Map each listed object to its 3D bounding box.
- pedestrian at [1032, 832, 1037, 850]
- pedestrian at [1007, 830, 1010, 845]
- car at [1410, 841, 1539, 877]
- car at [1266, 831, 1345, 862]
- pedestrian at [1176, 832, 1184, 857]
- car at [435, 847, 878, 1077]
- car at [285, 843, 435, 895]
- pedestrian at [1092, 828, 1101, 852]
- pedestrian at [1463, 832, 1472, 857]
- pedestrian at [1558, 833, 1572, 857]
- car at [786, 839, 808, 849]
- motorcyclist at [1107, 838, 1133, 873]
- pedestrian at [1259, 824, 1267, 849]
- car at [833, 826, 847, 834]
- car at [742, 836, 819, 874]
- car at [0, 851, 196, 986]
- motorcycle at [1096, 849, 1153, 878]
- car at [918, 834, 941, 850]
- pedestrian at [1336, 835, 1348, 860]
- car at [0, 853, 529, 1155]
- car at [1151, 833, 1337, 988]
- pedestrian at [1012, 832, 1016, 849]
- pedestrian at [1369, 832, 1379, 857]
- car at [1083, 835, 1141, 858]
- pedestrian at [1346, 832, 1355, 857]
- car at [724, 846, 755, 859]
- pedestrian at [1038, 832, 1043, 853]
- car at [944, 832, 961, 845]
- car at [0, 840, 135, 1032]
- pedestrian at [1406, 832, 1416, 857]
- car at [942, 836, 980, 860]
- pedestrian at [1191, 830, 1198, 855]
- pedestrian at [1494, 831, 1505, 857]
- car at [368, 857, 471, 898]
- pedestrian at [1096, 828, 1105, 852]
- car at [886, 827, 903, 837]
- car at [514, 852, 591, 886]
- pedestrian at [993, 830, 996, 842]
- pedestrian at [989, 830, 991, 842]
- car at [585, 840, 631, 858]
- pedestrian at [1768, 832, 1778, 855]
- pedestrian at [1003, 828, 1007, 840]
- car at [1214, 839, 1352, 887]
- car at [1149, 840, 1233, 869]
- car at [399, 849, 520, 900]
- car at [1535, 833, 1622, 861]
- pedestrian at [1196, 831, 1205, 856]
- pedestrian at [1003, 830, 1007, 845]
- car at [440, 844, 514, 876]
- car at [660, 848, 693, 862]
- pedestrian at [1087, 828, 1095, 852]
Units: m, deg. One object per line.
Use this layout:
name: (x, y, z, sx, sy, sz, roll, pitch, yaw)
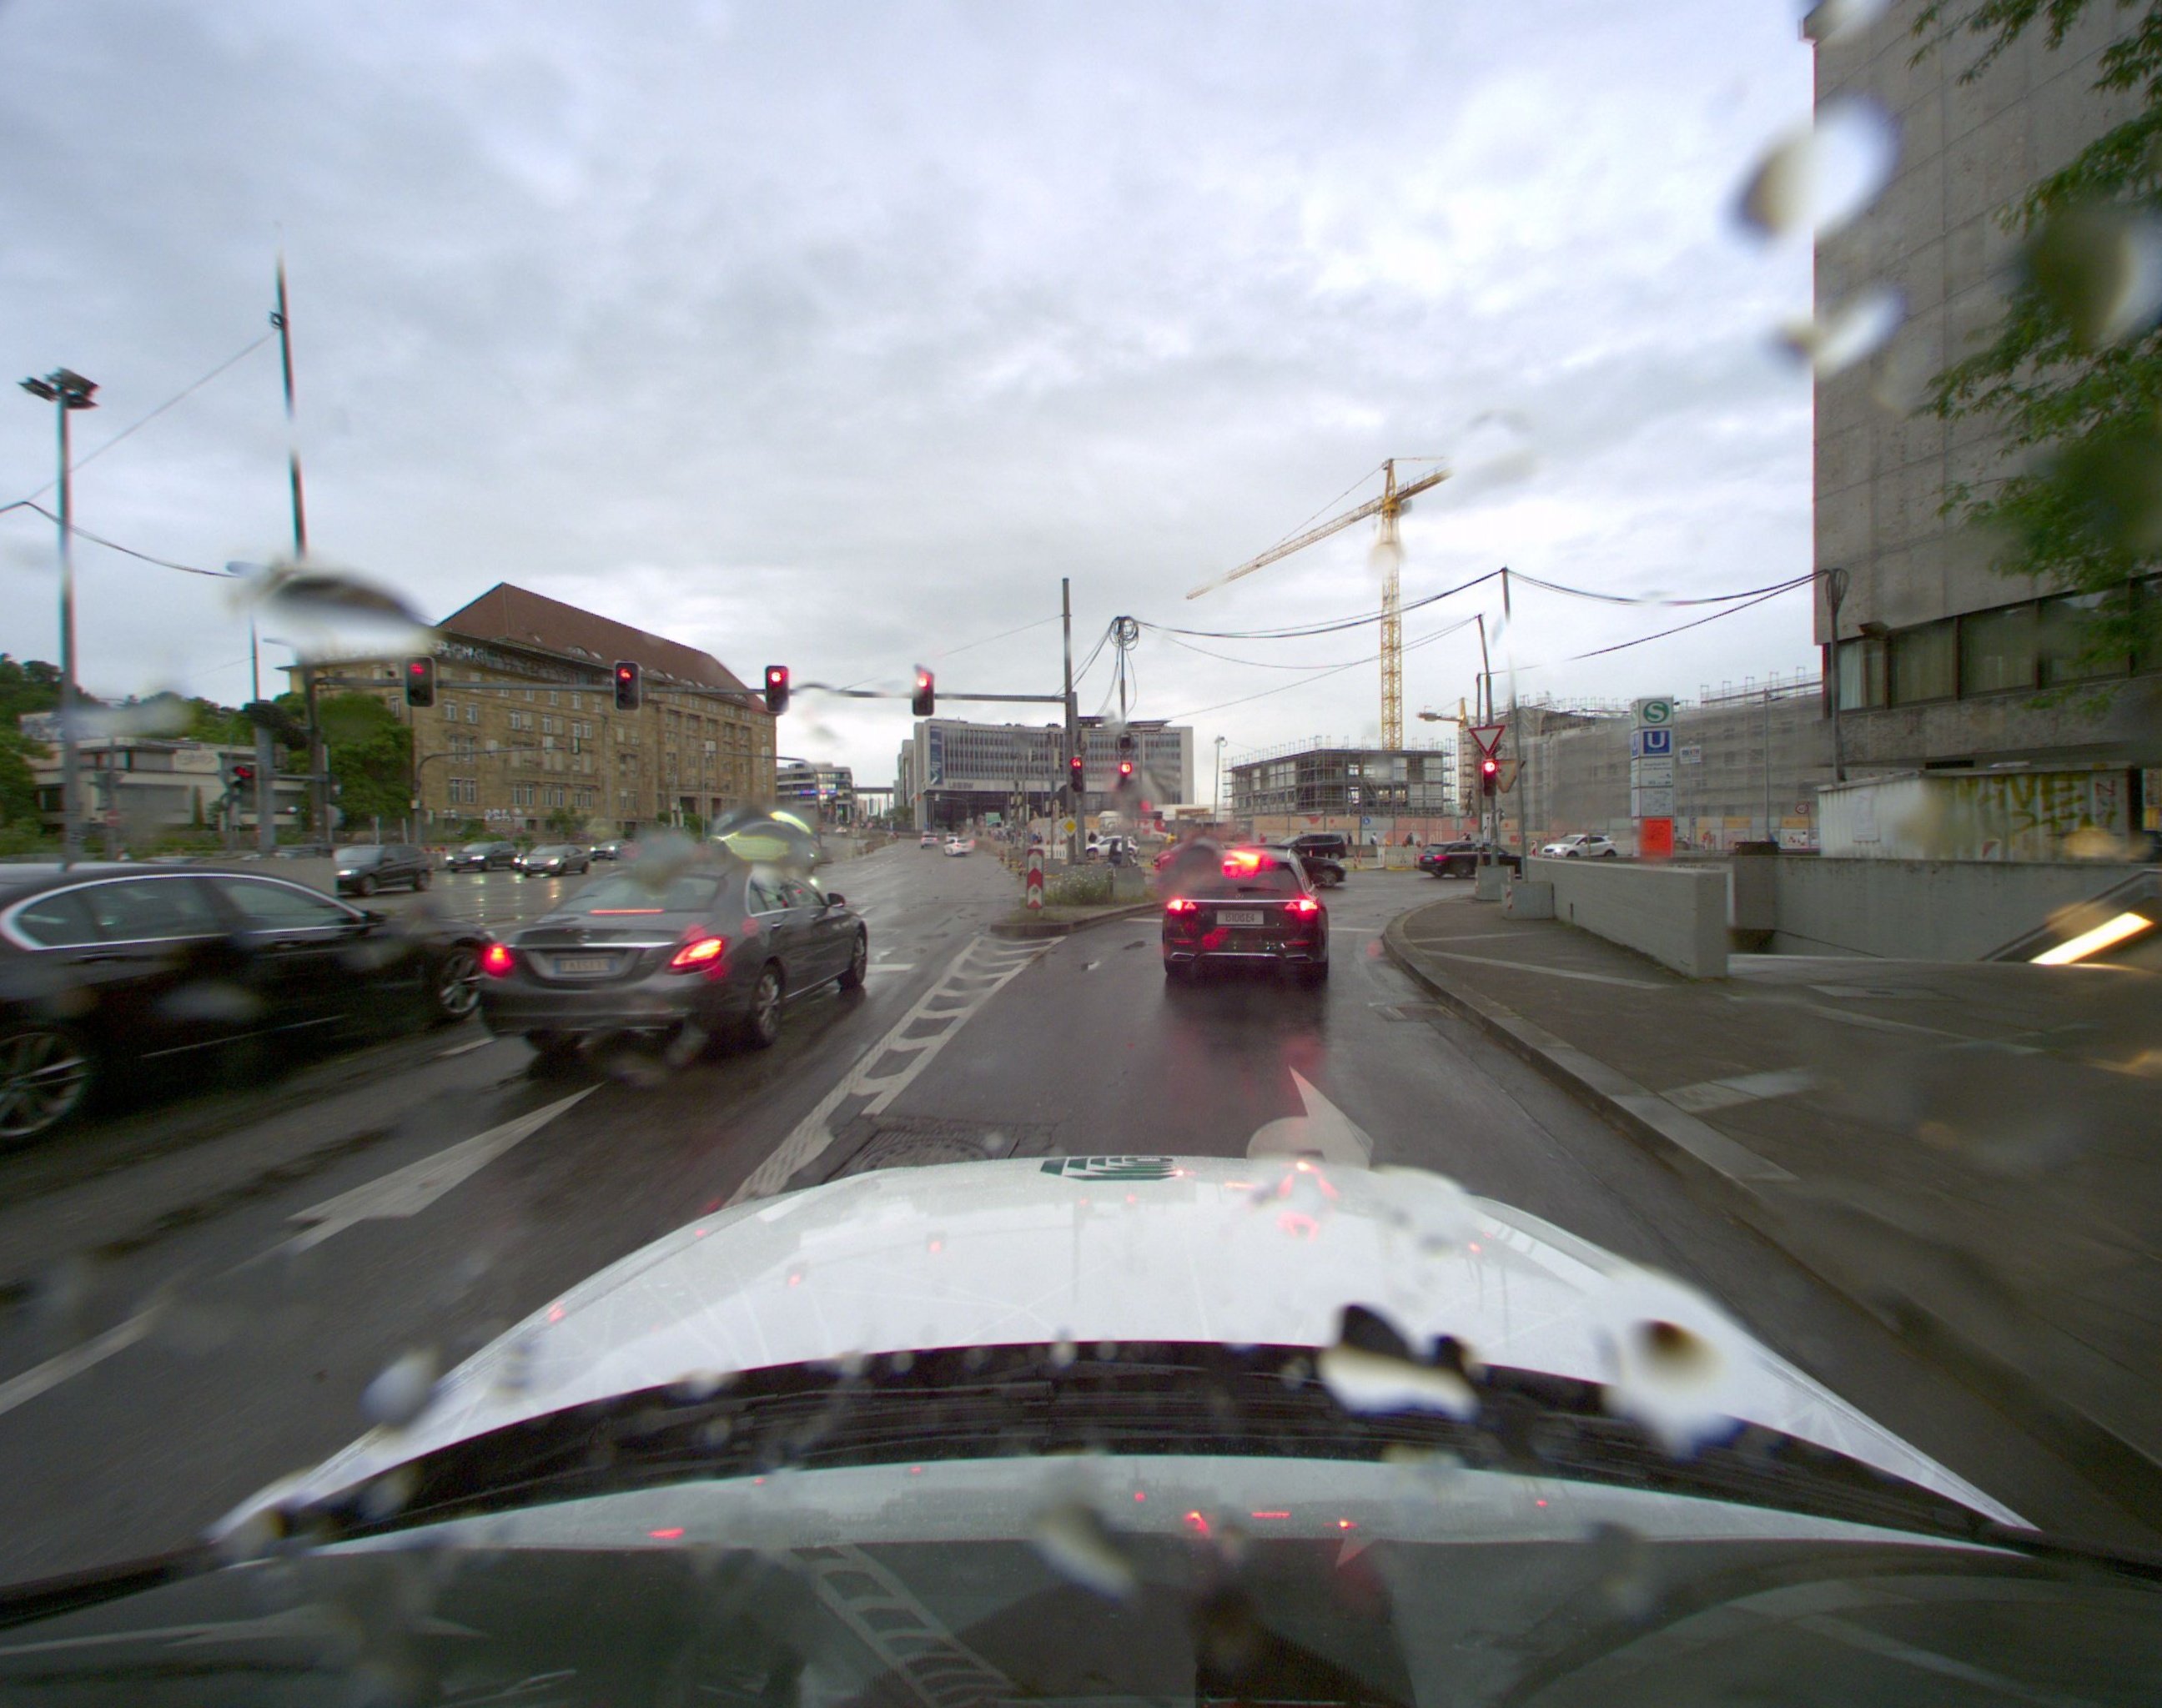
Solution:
pedestrian: (-4.796, -1.345, 83.760, 0.362, 1.898, 0.573, 0, -1, -17)
pedestrian: (-9.604, -2.204, 108.262, 0.361, 1.898, 0.574, 0, -1, -13)
car: (15.209, 0.173, 31.619, 4.089, 1.345, 1.998, 0, 0, -3)
car: (12.920, -0.436, 46.994, 3.989, 1.734, 1.992, 0, 0, -12)
pedestrian: (7.517, -0.707, 61.967, 0.570, 1.898, 0.364, 0, -1, 18)
car: (-3.317, 0.687, 7.549, 1.778, 1.402, 4.485, 0, 2, -1)
car: (-23.638, 0.468, 26.929, 1.802, 1.574, 4.061, 0, 0, -10)
pedestrian: (1.230, -1.108, 63.805, 0.364, 1.898, 0.569, -1, 0, -44)
pedestrian: (29.979, -0.732, 63.185, 0.574, 1.898, 0.361, 0, -1, -8)
pedestrian: (38.537, -0.719, 64.833, 0.797, 1.898, 0.564, 0, -1, -10)
car: (-36.299, -1.238, 104.147, 1.766, 1.260, 3.989, 0, 0, -8)
motorcyclist: (1.510, 0.053, 31.551, 0.940, 1.358, 0.851, 0, -1, 8)
pedestrian: (13.925, -1.352, 62.240, 0.573, 1.898, 0.362, 0, -1, 0)
car: (-59.466, -6.026, 200.893, 2.011, 1.816, 3.952, 0, -1, -43)
car: (-14.892, 0.061, 40.204, 2.010, 1.797, 5.043, 0, -1, -40)
car: (-13.656, 0.760, 9.576, 1.773, 1.599, 4.082, 0, 0, 8)
motorcycle: (1.698, 0.374, 31.521, 2.124, 1.108, 0.853, 0, -1, 7)
car: (-17.050, -1.349, 91.489, 2.000, 1.640, 3.973, 0, 0, -20)
pedestrian: (20.356, -0.491, 63.594, 0.655, 1.901, 0.630, 0, -1, -9)
car: (-6.401, 0.763, 5.578, 1.881, 1.515, 5.000, 0, 0, -1)
car: (2.155, 0.575, 10.312, 1.877, 1.544, 4.009, 0, 0, 14)
pedestrian: (-7.756, -1.585, 94.653, 0.361, 1.898, 0.574, 0, -1, -13)
pedestrian: (22.149, -0.727, 61.571, 0.574, 1.898, 0.361, 0, -1, -7)
car: (2.055, -0.449, 53.347, 3.526, 1.473, 1.791, 0, 0, 9)
pedestrian: (20.782, -0.717, 62.867, 0.574, 1.898, 0.361, 0, -1, -7)
car: (-33.895, -0.169, 80.922, 1.766, 1.260, 4.183, 0, 0, -8)
pedestrian: (-3.755, -1.068, 75.525, 0.362, 1.898, 0.572, 0, -1, -21)
car: (-17.082, -2.090, 108.245, 1.732, 1.639, 3.415, 0, 3, -17)
car: (-9.918, 0.686, 5.809, 1.728, 1.616, 3.996, 0, 0, -2)
pedestrian: (24.920, -0.732, 61.484, 0.574, 1.898, 0.361, 0, -1, -7)
car: (-9.314, -0.438, 63.020, 2.001, 1.766, 4.386, 0, 0, -22)
pedestrian: (8.594, -0.897, 61.671, 0.572, 1.898, 0.362, 0, -1, 4)
pedestrian: (31.161, -0.756, 60.622, 0.574, 1.898, 0.361, 0, -1, -7)
car: (-27.478, 0.938, 33.968, 1.697, 1.519, 3.545, -2, 0, -8)
pedestrian: (1.536, -1.098, 64.062, 0.364, 1.898, 0.570, 0, -1, -40)
car: (-39.420, -4.697, 171.997, 2.009, 2.014, 3.955, 0, -1, -38)
car: (-25.685, 0.716, 39.759, 1.698, 1.574, 3.986, 0, 0, -10)
pedestrian: (-14.674, -3.045, 137.852, 0.361, 1.898, 0.574, 0, -1, -13)
pedestrian: (-15.384, -3.043, 137.687, 0.361, 1.898, 0.574, 0, -1, -13)
car: (-35.195, -0.344, 60.733, 1.623, 1.260, 3.987, 0, 0, -10)
pedestrian: (57.566, -0.894, 67.737, 0.574, 1.898, 0.361, 0, -1, -7)
pedestrian: (-11.949, -3.115, 127.828, 0.520, 1.898, 0.574, 0, -1, -13)
car: (6.576, 0.299, 26.862, 4.083, 1.507, 2.001, 0, 0, 2)
car: (5.113, 0.037, 37.918, 3.539, 1.304, 1.658, 0, 0, -14)
car: (-21.336, 0.660, 28.153, 1.623, 1.613, 3.987, 0, 0, -10)
car: (28.315, -0.379, 46.360, 4.047, 1.552, 1.990, 0, 0, -15)
pedestrian: (8.863, -0.767, 60.489, 0.573, 1.898, 0.362, 0, -1, -3)
pedestrian: (-10.106, -2.201, 108.156, 0.361, 1.898, 0.574, 0, -1, -13)
car: (-33.169, 0.329, 44.833, 1.623, 1.646, 3.987, 0, 0, -10)
car: (-36.282, 0.117, 73.155, 1.737, 1.260, 3.319, 0, 0, -10)
pedestrian: (0.792, -1.099, 63.650, 0.364, 1.898, 0.570, 0, -1, -38)
